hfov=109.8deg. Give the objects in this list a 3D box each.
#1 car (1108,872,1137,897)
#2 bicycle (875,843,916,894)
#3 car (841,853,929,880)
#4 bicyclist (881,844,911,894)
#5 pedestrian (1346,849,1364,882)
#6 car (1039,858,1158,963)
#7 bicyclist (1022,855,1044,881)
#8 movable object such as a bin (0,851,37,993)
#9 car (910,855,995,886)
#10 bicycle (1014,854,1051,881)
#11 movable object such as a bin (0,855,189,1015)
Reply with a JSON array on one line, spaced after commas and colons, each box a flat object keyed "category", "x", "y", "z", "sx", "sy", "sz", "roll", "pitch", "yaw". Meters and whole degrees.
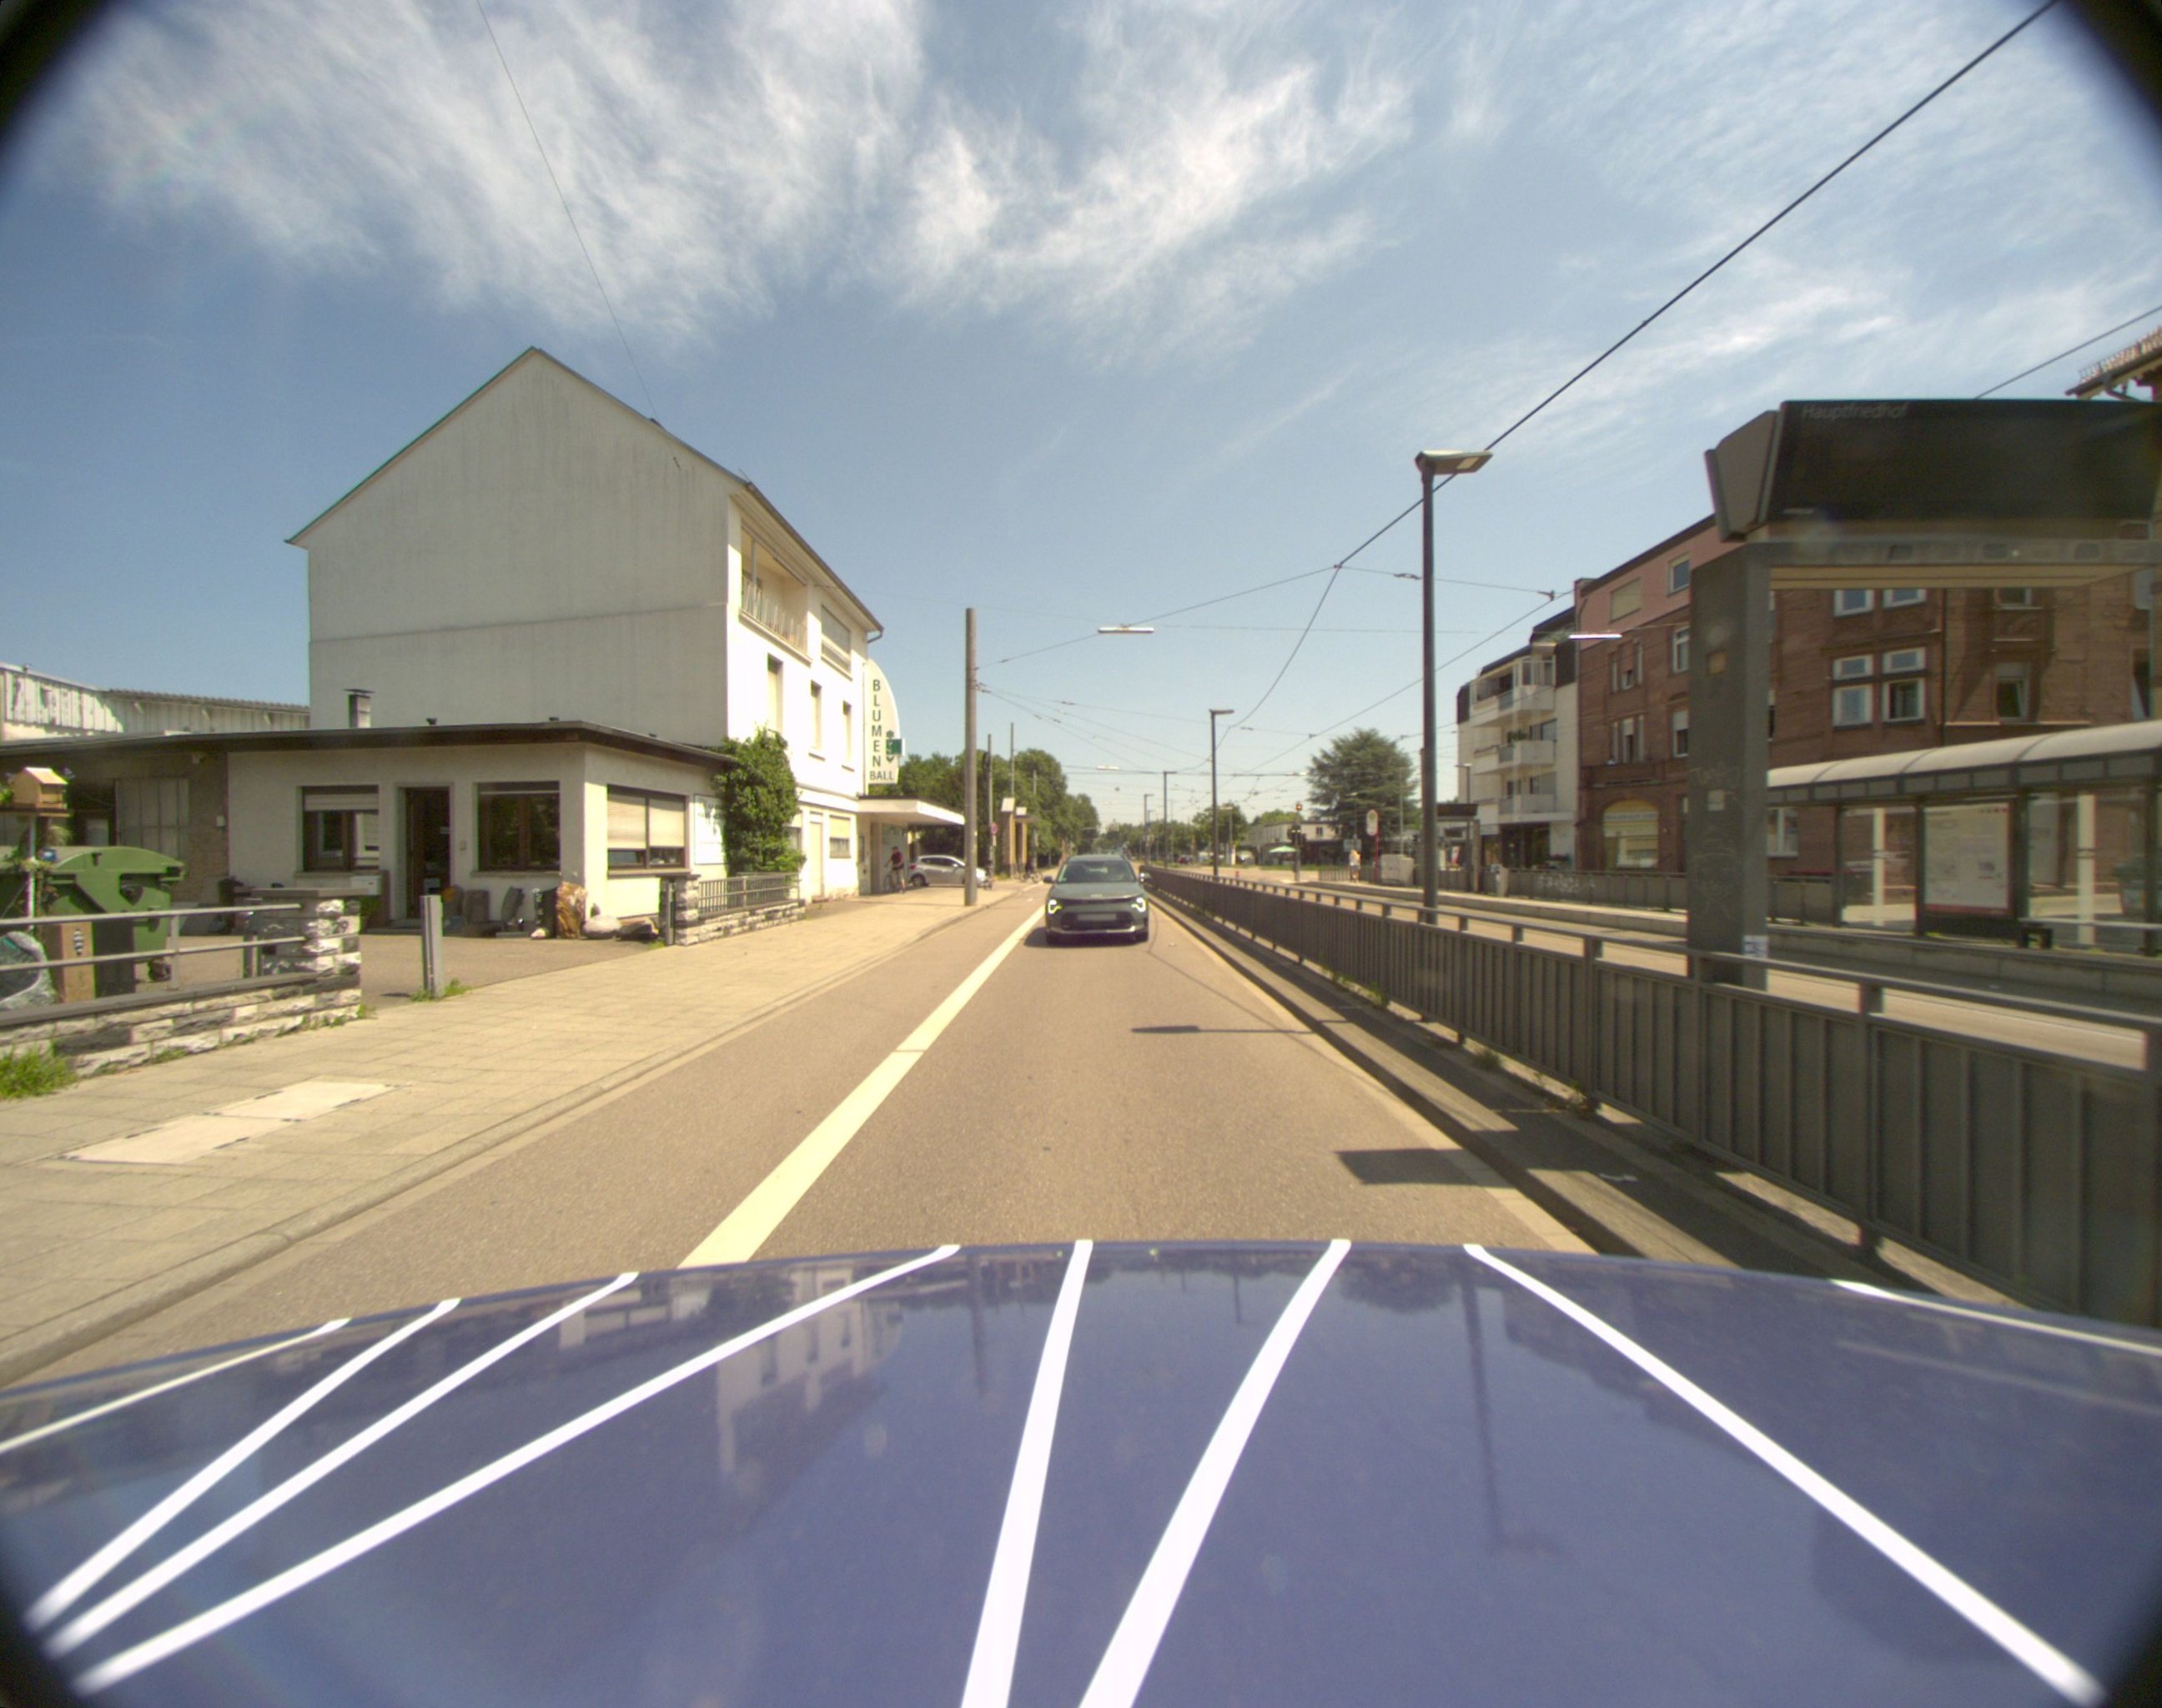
[{"category": "car", "x": 3.042, "y": 2.227, "z": 56.336, "sx": 1.749, "sy": 1.546, "sz": 4.486, "roll": -3, "pitch": 0, "yaw": -1}, {"category": "bicycle", "x": -7.123, "y": 0.551, "z": 29.292, "sx": 0.799, "sy": 1.889, "sz": 1.960, "roll": 2, "pitch": 0, "yaw": 8}, {"category": "car", "x": -10.879, "y": 0.692, "z": 42.340, "sx": 4.461, "sy": 1.449, "sz": 1.595, "roll": 1, "pitch": -1, "yaw": 1}, {"category": "bicyclist", "x": -7.122, "y": 0.562, "z": 29.289, "sx": 0.790, "sy": 1.863, "sz": 0.888, "roll": 2, "pitch": 0, "yaw": 8}, {"category": "pedestrian", "x": 13.469, "y": 0.572, "z": 37.329, "sx": 0.597, "sy": 1.615, "sz": 0.676, "roll": 1, "pitch": 1, "yaw": 1}, {"category": "car", "x": 0.321, "y": 0.879, "z": 13.943, "sx": 1.827, "sy": 1.546, "sz": 4.487, "roll": -1, "pitch": 0, "yaw": 1}, {"category": "bicyclist", "x": -3.008, "y": 0.872, "z": 47.608, "sx": 0.987, "sy": 1.568, "sz": 0.866, "roll": 4, "pitch": 0, "yaw": -30}, {"category": "movable object such as a bin", "x": -11.928, "y": 0.709, "z": 7.606, "sx": 1.390, "sy": 1.473, "sz": 1.151, "roll": 0, "pitch": 1, "yaw": 5}, {"category": "car", "x": -6.539, "y": 0.827, "z": 38.844, "sx": 3.996, "sy": 1.508, "sz": 1.698, "roll": 0, "pitch": 0, "yaw": 3}, {"category": "bicycle", "x": -3.040, "y": 0.860, "z": 47.595, "sx": 2.054, "sy": 1.580, "sz": 0.889, "roll": 4, "pitch": 0, "yaw": -30}, {"category": "movable object such as a bin", "x": -10.323, "y": 0.759, "z": 7.610, "sx": 1.390, "sy": 1.473, "sz": 1.151, "roll": 0, "pitch": 1, "yaw": 2}]
